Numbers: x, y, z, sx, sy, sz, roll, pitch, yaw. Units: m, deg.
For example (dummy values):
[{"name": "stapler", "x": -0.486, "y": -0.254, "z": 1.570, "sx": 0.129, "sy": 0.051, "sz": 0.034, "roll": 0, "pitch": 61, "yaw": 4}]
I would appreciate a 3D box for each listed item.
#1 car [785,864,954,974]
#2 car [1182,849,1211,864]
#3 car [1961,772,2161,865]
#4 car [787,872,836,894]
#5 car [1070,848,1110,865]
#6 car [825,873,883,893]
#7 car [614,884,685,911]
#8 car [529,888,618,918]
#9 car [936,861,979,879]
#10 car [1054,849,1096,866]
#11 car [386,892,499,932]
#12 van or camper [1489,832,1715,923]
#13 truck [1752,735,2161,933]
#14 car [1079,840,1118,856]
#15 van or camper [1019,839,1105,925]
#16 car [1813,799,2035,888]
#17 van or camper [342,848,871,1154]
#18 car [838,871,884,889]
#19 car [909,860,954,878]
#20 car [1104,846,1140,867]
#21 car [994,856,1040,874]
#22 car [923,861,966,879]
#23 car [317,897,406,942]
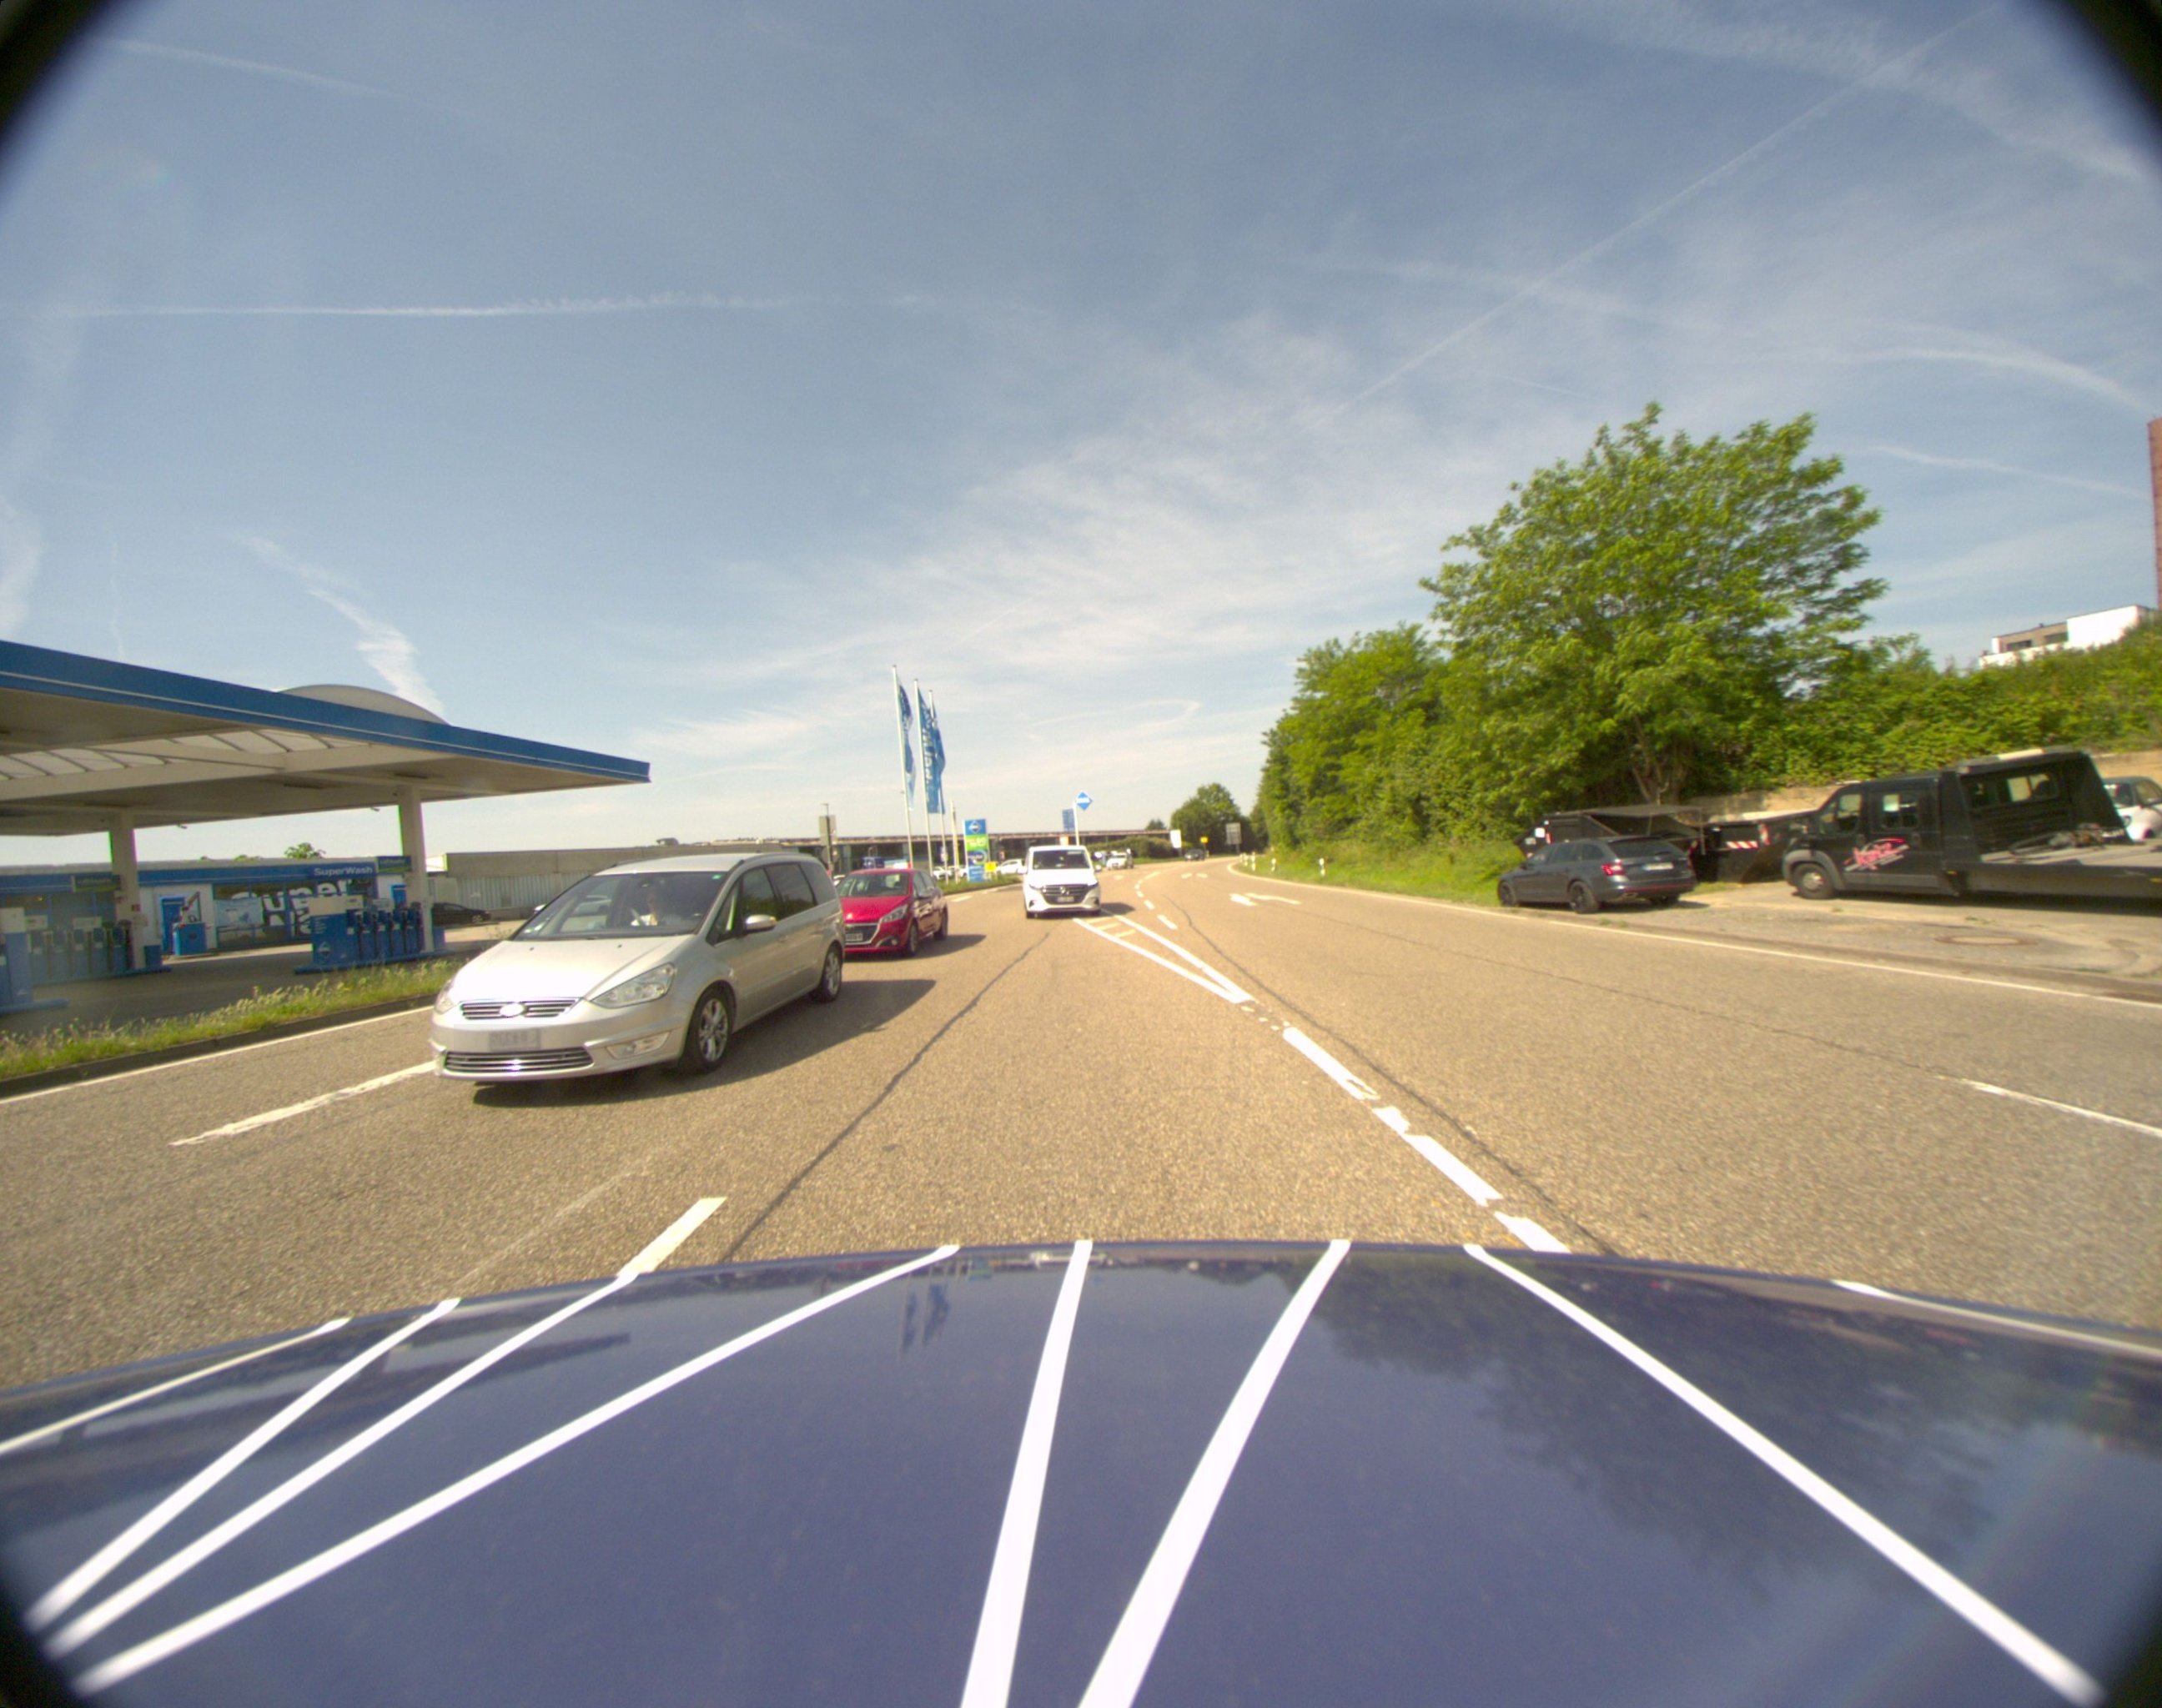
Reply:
[{"name": "car", "x": -3.570, "y": 1.027, "z": 13.549, "sx": 1.805, "sy": 1.563, "sz": 3.714, "roll": -2, "pitch": 0, "yaw": 2}, {"name": "car", "x": 14.923, "y": 0.343, "z": 97.965, "sx": 1.864, "sy": 1.632, "sz": 4.429, "roll": -4, "pitch": 0, "yaw": 32}, {"name": "car", "x": 18.289, "y": -0.658, "z": 13.840, "sx": 3.674, "sy": 1.460, "sz": 1.737, "roll": -4, "pitch": 0, "yaw": -21}, {"name": "car", "x": -23.322, "y": 2.516, "z": 65.792, "sx": 4.011, "sy": 1.595, "sz": 1.893, "roll": -4, "pitch": 1, "yaw": 34}, {"name": "car", "x": 1.098, "y": 0.298, "z": 89.674, "sx": 4.248, "sy": 1.628, "sz": 1.825, "roll": -4, "pitch": -1, "yaw": 26}, {"name": "car", "x": -18.027, "y": 2.300, "z": 60.351, "sx": 4.129, "sy": 1.245, "sz": 1.696, "roll": -4, "pitch": 0, "yaw": -23}, {"name": "car", "x": -31.684, "y": 3.171, "z": 55.881, "sx": 1.886, "sy": 1.595, "sz": 4.028, "roll": -4, "pitch": 0, "yaw": 31}, {"name": "car", "x": -34.138, "y": 3.279, "z": 51.216, "sx": 1.886, "sy": 1.595, "sz": 4.537, "roll": -4, "pitch": 0, "yaw": 28}, {"name": "car", "x": -13.615, "y": 1.768, "z": 83.543, "sx": 4.454, "sy": 1.628, "sz": 1.826, "roll": -4, "pitch": -1, "yaw": 32}, {"name": "car", "x": -0.714, "y": 0.433, "z": 85.452, "sx": 4.248, "sy": 1.628, "sz": 1.825, "roll": -4, "pitch": -1, "yaw": 26}, {"name": "car", "x": -37.674, "y": 3.391, "z": 44.975, "sx": 1.886, "sy": 1.815, "sz": 4.662, "roll": -4, "pitch": 0, "yaw": 26}, {"name": "van or camper", "x": 10.528, "y": 0.401, "z": 15.840, "sx": 1.643, "sy": 1.515, "sz": 4.467, "roll": -4, "pitch": 0, "yaw": 1}, {"name": "truck", "x": 14.025, "y": -0.349, "z": 10.180, "sx": 2.336, "sy": 2.283, "sz": 8.803, "roll": -8, "pitch": 0, "yaw": 3}, {"name": "car", "x": 2.104, "y": -0.688, "z": 92.136, "sx": 4.248, "sy": 1.628, "sz": 1.825, "roll": -4, "pitch": -1, "yaw": 26}, {"name": "van or camper", "x": -0.645, "y": 0.667, "z": 21.232, "sx": 1.999, "sy": 2.002, "sz": 5.288, "roll": -3, "pitch": 0, "yaw": -4}, {"name": "car", "x": 17.257, "y": -0.226, "z": 15.578, "sx": 3.674, "sy": 1.502, "sz": 1.714, "roll": -4, "pitch": 0, "yaw": -19}, {"name": "van or camper", "x": -3.640, "y": 0.903, "z": 7.268, "sx": 1.751, "sy": 1.777, "sz": 5.132, "roll": -4, "pitch": 0, "yaw": -1}, {"name": "car", "x": -20.549, "y": 2.414, "z": 70.857, "sx": 4.036, "sy": 1.449, "sz": 1.826, "roll": -4, "pitch": -1, "yaw": 32}, {"name": "car", "x": -15.755, "y": 1.539, "z": 80.086, "sx": 4.454, "sy": 1.628, "sz": 1.826, "roll": -4, "pitch": -1, "yaw": 32}, {"name": "car", "x": 3.735, "y": 0.227, "z": 68.615, "sx": 1.865, "sy": 1.632, "sz": 4.427, "roll": -4, "pitch": 0, "yaw": 21}, {"name": "car", "x": -6.590, "y": 1.151, "z": 77.796, "sx": 4.248, "sy": 1.628, "sz": 1.825, "roll": -4, "pitch": -1, "yaw": 26}, {"name": "car", "x": -14.684, "y": 1.712, "z": 81.773, "sx": 4.454, "sy": 1.628, "sz": 1.826, "roll": -4, "pitch": -1, "yaw": 32}, {"name": "car", "x": -33.030, "y": 3.003, "z": 34.863, "sx": 4.161, "sy": 1.815, "sz": 1.893, "roll": -4, "pitch": 1, "yaw": 32}]
